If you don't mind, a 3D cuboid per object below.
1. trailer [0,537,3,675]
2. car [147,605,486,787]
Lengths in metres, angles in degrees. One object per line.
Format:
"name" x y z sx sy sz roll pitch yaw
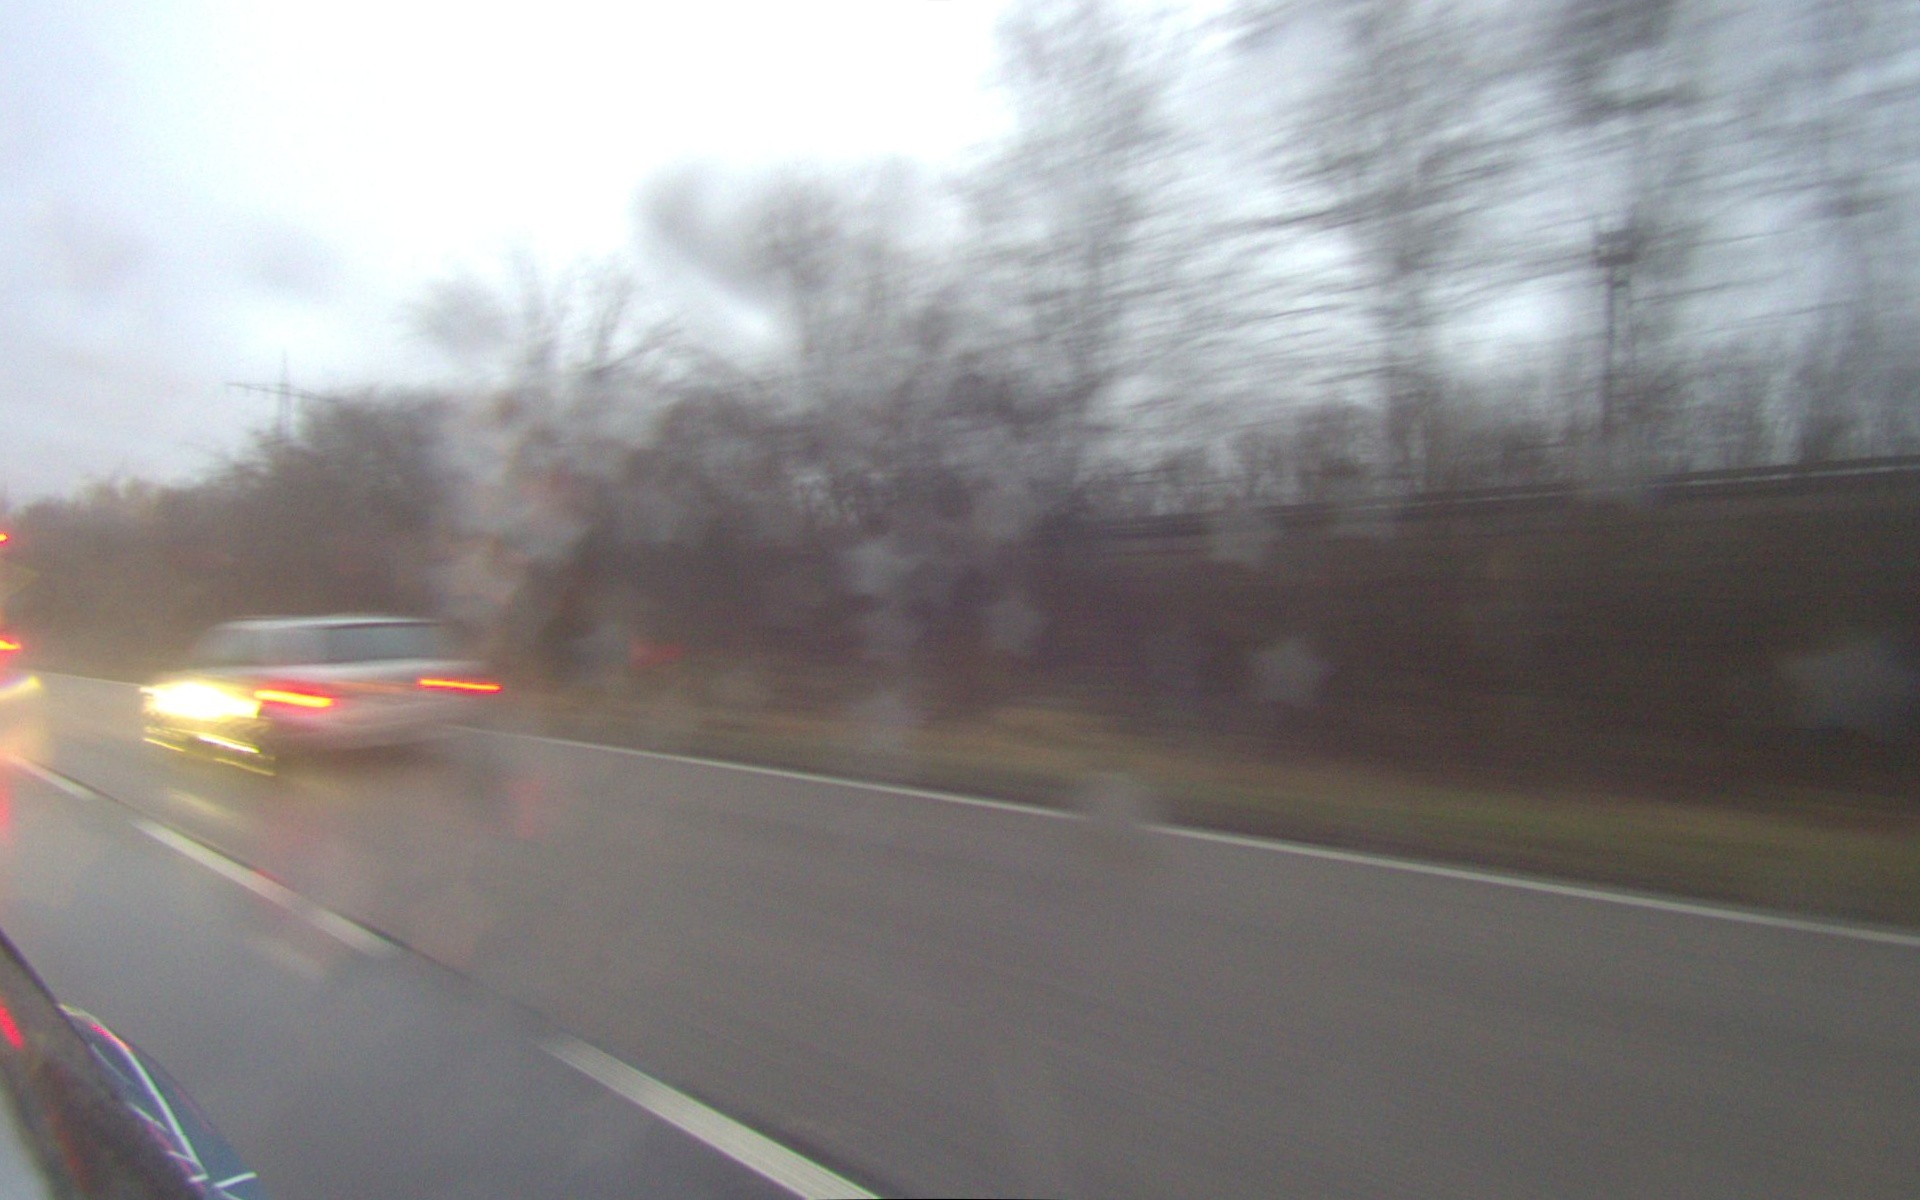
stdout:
"trailer" -34.684 0.311 33.505 13.504 4.120 2.751 -2 -2 40
"car" -6.893 0.863 10.639 4.480 1.484 1.728 -2 0 40
